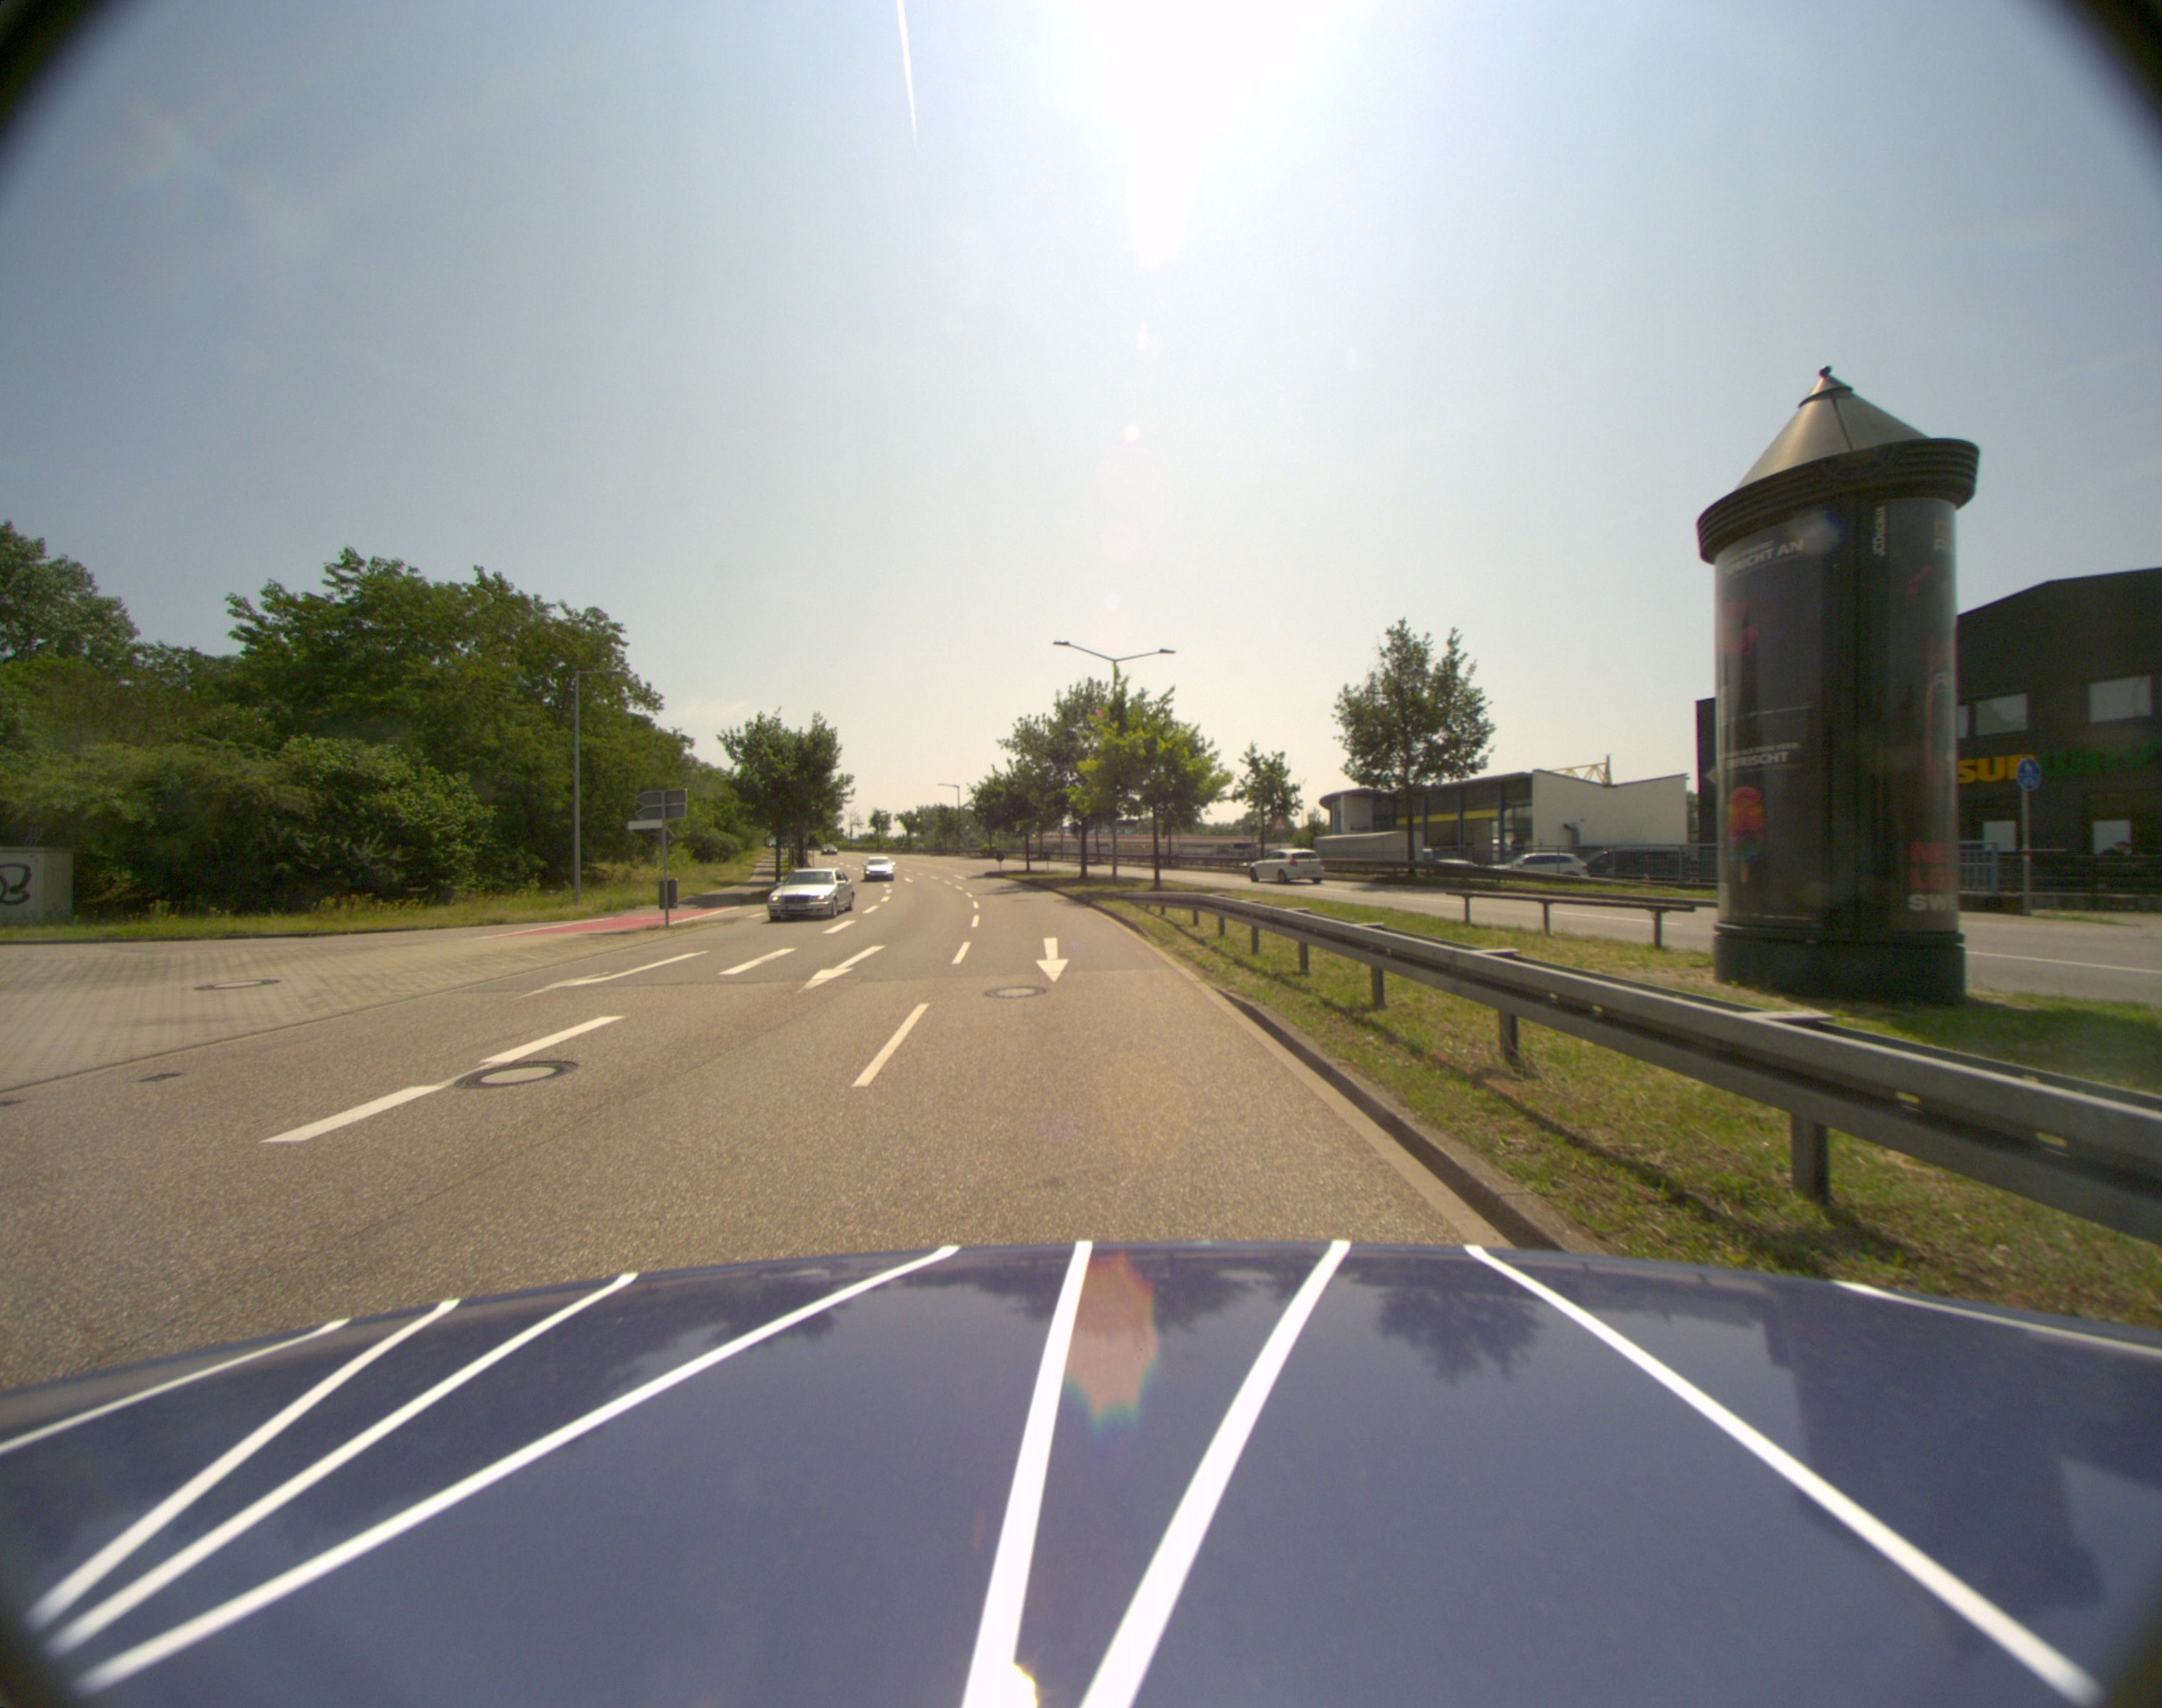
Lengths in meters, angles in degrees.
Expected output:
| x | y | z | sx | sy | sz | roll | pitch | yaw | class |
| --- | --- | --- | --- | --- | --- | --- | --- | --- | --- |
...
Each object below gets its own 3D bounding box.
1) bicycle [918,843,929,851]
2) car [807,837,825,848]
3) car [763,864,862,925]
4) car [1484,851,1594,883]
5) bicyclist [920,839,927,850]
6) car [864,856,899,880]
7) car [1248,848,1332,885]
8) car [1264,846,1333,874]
| x | y | z | sx | sy | sz | roll | pitch | yaw | class |
| --- | --- | --- | --- | --- | --- | --- | --- | --- | --- |
| -22.576 | -1.052 | 108.893 | 0.738 | 1.110 | 2.040 | 4 | 0 | -32 | bicycle |
| -46.294 | -1.991 | 132.737 | 1.924 | 1.642 | 4.397 | 1 | -2 | -34 | car |
| -7.720 | 1.088 | 22.240 | 1.764 | 1.490 | 4.230 | -1 | 1 | -6 | car |
| 20.741 | 0.570 | 34.580 | 3.992 | 1.371 | 1.661 | -1 | 1 | 17 | car |
| -22.570 | -1.363 | 108.909 | 0.733 | 1.457 | 0.822 | 4 | 0 | -31 | bicyclist |
| -12.469 | 0.815 | 47.458 | 2.001 | 1.361 | 4.227 | -1 | 0 | -15 | car |
| 8.726 | 0.487 | 32.147 | 1.660 | 1.371 | 4.213 | -3 | 1 | -12 | car |
| 13.138 | 0.348 | 46.228 | 1.905 | 1.560 | 4.633 | 1 | 1 | -14 | car |
